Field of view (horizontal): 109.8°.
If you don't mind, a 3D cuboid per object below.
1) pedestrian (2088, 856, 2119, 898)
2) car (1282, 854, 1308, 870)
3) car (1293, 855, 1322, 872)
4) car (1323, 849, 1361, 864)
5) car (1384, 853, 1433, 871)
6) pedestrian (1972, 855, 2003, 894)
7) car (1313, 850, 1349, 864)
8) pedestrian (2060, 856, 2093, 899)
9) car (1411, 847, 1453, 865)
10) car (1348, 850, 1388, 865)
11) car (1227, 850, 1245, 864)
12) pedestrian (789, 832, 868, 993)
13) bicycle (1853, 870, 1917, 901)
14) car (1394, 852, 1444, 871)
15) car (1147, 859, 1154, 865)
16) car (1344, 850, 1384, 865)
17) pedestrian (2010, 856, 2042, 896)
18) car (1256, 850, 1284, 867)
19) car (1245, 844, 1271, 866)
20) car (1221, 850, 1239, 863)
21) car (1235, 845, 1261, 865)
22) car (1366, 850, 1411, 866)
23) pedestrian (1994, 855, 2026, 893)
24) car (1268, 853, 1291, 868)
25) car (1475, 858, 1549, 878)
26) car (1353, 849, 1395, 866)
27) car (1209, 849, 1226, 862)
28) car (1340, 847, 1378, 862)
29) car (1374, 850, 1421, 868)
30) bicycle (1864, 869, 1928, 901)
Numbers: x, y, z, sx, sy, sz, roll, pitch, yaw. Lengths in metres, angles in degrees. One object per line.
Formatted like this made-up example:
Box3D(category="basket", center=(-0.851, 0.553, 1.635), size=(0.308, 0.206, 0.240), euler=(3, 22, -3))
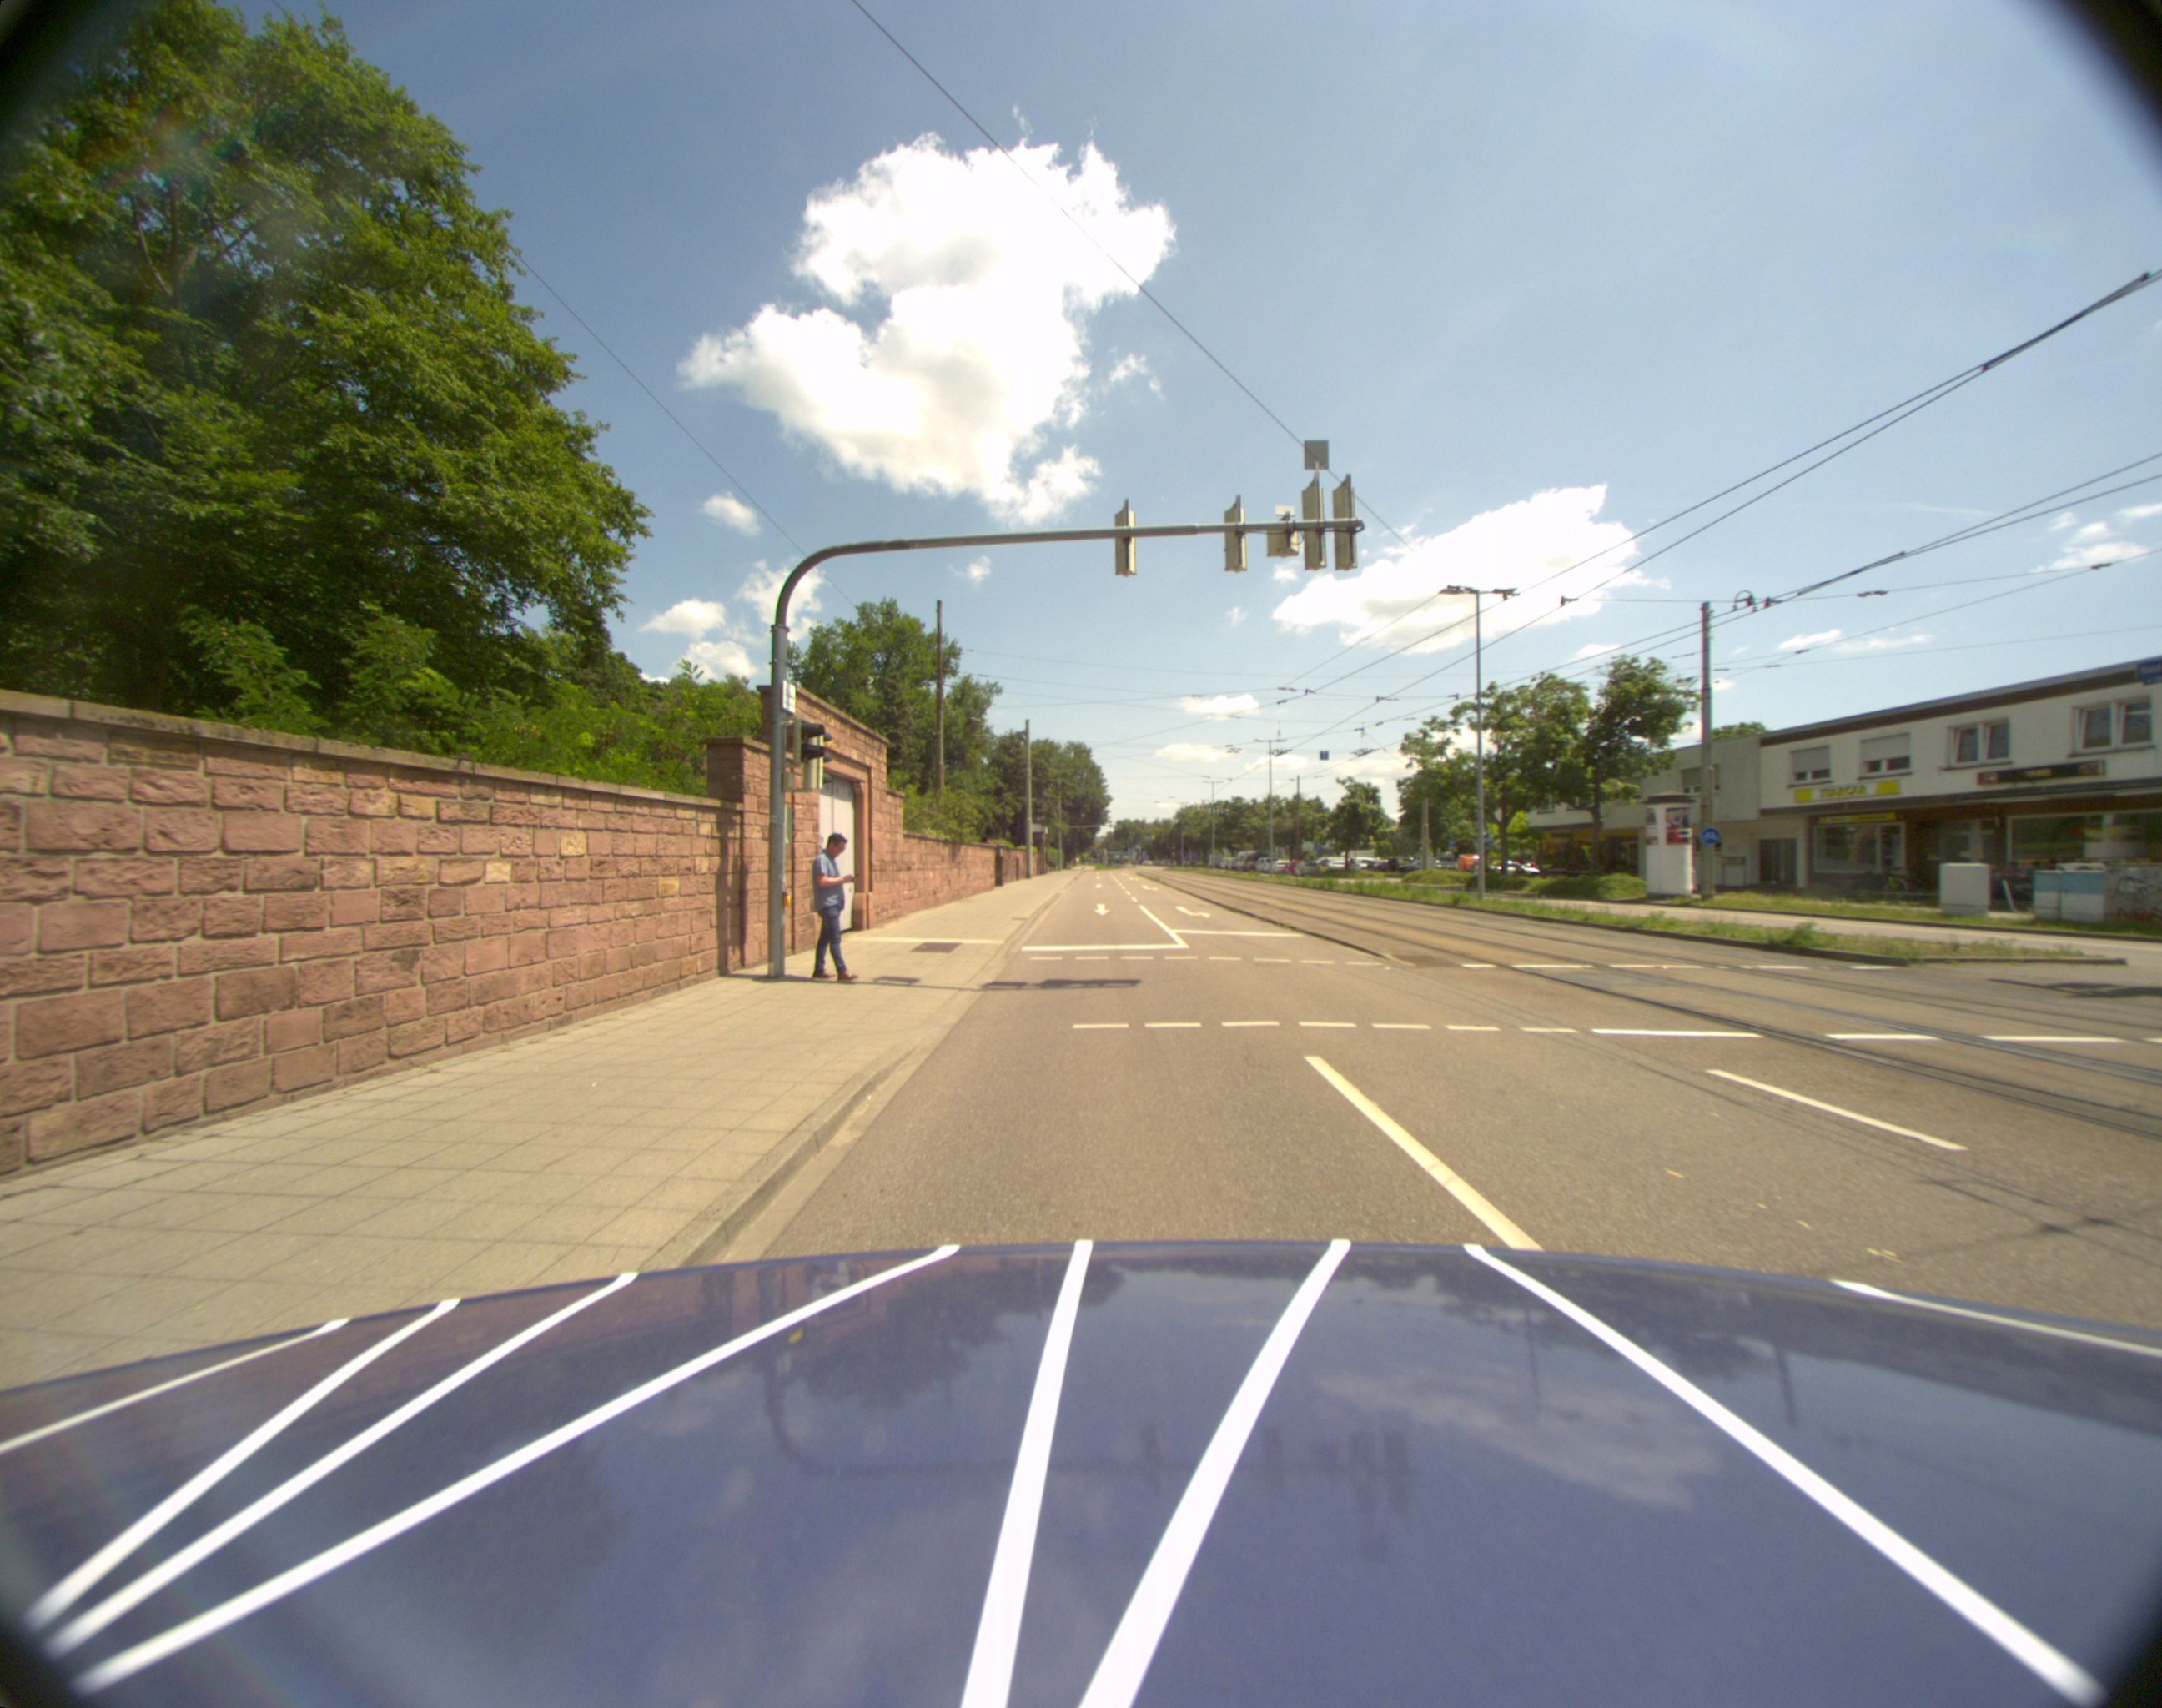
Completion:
Box3D(category="pedestrian", center=(30.748, 0.679, 22.849), size=(0.387, 1.239, 0.401), euler=(0, 0, 2))
Box3D(category="car", center=(22.149, 0.769, 78.722), size=(1.503, 1.531, 3.648), euler=(-2, 1, -2))
Box3D(category="car", center=(21.872, 0.874, 73.508), size=(1.580, 1.531, 4.551), euler=(-2, 1, 3))
Box3D(category="car", center=(32.169, 0.343, 93.813), size=(3.996, 1.726, 1.803), euler=(2, 1, 2))
Box3D(category="car", center=(32.451, 0.774, 75.325), size=(3.996, 1.726, 1.879), euler=(0, 0, 2))
Box3D(category="pedestrian", center=(30.048, 0.676, 25.189), size=(0.354, 1.261, 0.533), euler=(0, 0, 2))
Box3D(category="car", center=(33.732, 0.375, 102.469), size=(4.199, 1.726, 1.803), euler=(2, 1, 2))
Box3D(category="pedestrian", center=(29.908, 0.701, 22.835), size=(0.319, 1.261, 0.502), euler=(0, 0, 2))
Box3D(category="car", center=(46.435, 0.234, 100.520), size=(4.652, 2.212, 1.851), euler=(2, 1, -1))
Box3D(category="car", center=(33.384, 0.373, 88.465), size=(3.996, 1.726, 1.903), euler=(0, 0, 2))
Box3D(category="car", center=(22.969, 0.440, 112.883), size=(1.794, 1.927, 4.649), euler=(-2, 1, 2))
Box3D(category="pedestrian", center=(-2.999, 0.677, 9.093), size=(0.767, 1.841, 0.717), euler=(1, 1, -9))
Box3D(category="bicycle", center=(28.403, 1.089, 26.877), size=(0.399, 1.035, 1.802), euler=(0, 0, 3))
Box3D(category="car", center=(32.180, 0.724, 72.391), size=(3.996, 1.726, 1.803), euler=(0, 0, 2))
Box3D(category="car", center=(20.711, 2.325, 226.164), size=(1.681, 1.680, 3.547), euler=(2, 1, 7))
Box3D(category="car", center=(33.887, 0.386, 91.038), size=(3.996, 1.726, 1.803), euler=(2, 1, 2))
Box3D(category="pedestrian", center=(29.933, 0.694, 24.076), size=(0.345, 1.261, 0.528), euler=(0, 0, 4))
Box3D(category="car", center=(22.339, 0.522, 89.963), size=(2.155, 1.827, 4.888), euler=(-2, 1, 2))
Box3D(category="car", center=(22.323, 0.081, 95.988), size=(2.155, 2.596, 5.033), euler=(-2, 1, 2))
Box3D(category="car", center=(23.423, 0.404, 119.576), size=(1.795, 1.927, 4.488), euler=(-2, 1, 0))
Box3D(category="car", center=(22.854, 0.118, 104.165), size=(2.156, 2.596, 6.704), euler=(-2, 1, 0))
Box3D(category="car", center=(32.398, 0.410, 80.141), size=(3.996, 1.726, 1.803), euler=(0, 0, 2))
Box3D(category="pedestrian", center=(30.723, 0.648, 25.129), size=(0.353, 1.261, 0.580), euler=(0, 0, 2))
Box3D(category="car", center=(21.750, 0.705, 83.426), size=(1.502, 1.531, 4.359), euler=(-2, 1, 3))
Box3D(category="car", center=(32.252, 1.030, 56.958), size=(4.484, 1.426, 1.907), euler=(0, 0, 4))
Box3D(category="car", center=(33.037, 0.398, 85.839), size=(3.996, 1.726, 1.803), euler=(2, 1, 2))
Box3D(category="car", center=(23.540, 0.206, 131.463), size=(2.071, 2.089, 4.488), euler=(-2, 1, 0))
Box3D(category="car", center=(47.550, 0.105, 130.061), size=(5.697, 2.467, 2.259), euler=(0, 1, -1))
Box3D(category="car", center=(32.274, 0.468, 77.487), size=(3.996, 1.726, 1.803), euler=(2, 1, 2))
Box3D(category="bicycle", center=(28.816, 1.077, 26.884), size=(0.399, 1.035, 1.802), euler=(0, 0, 3))
